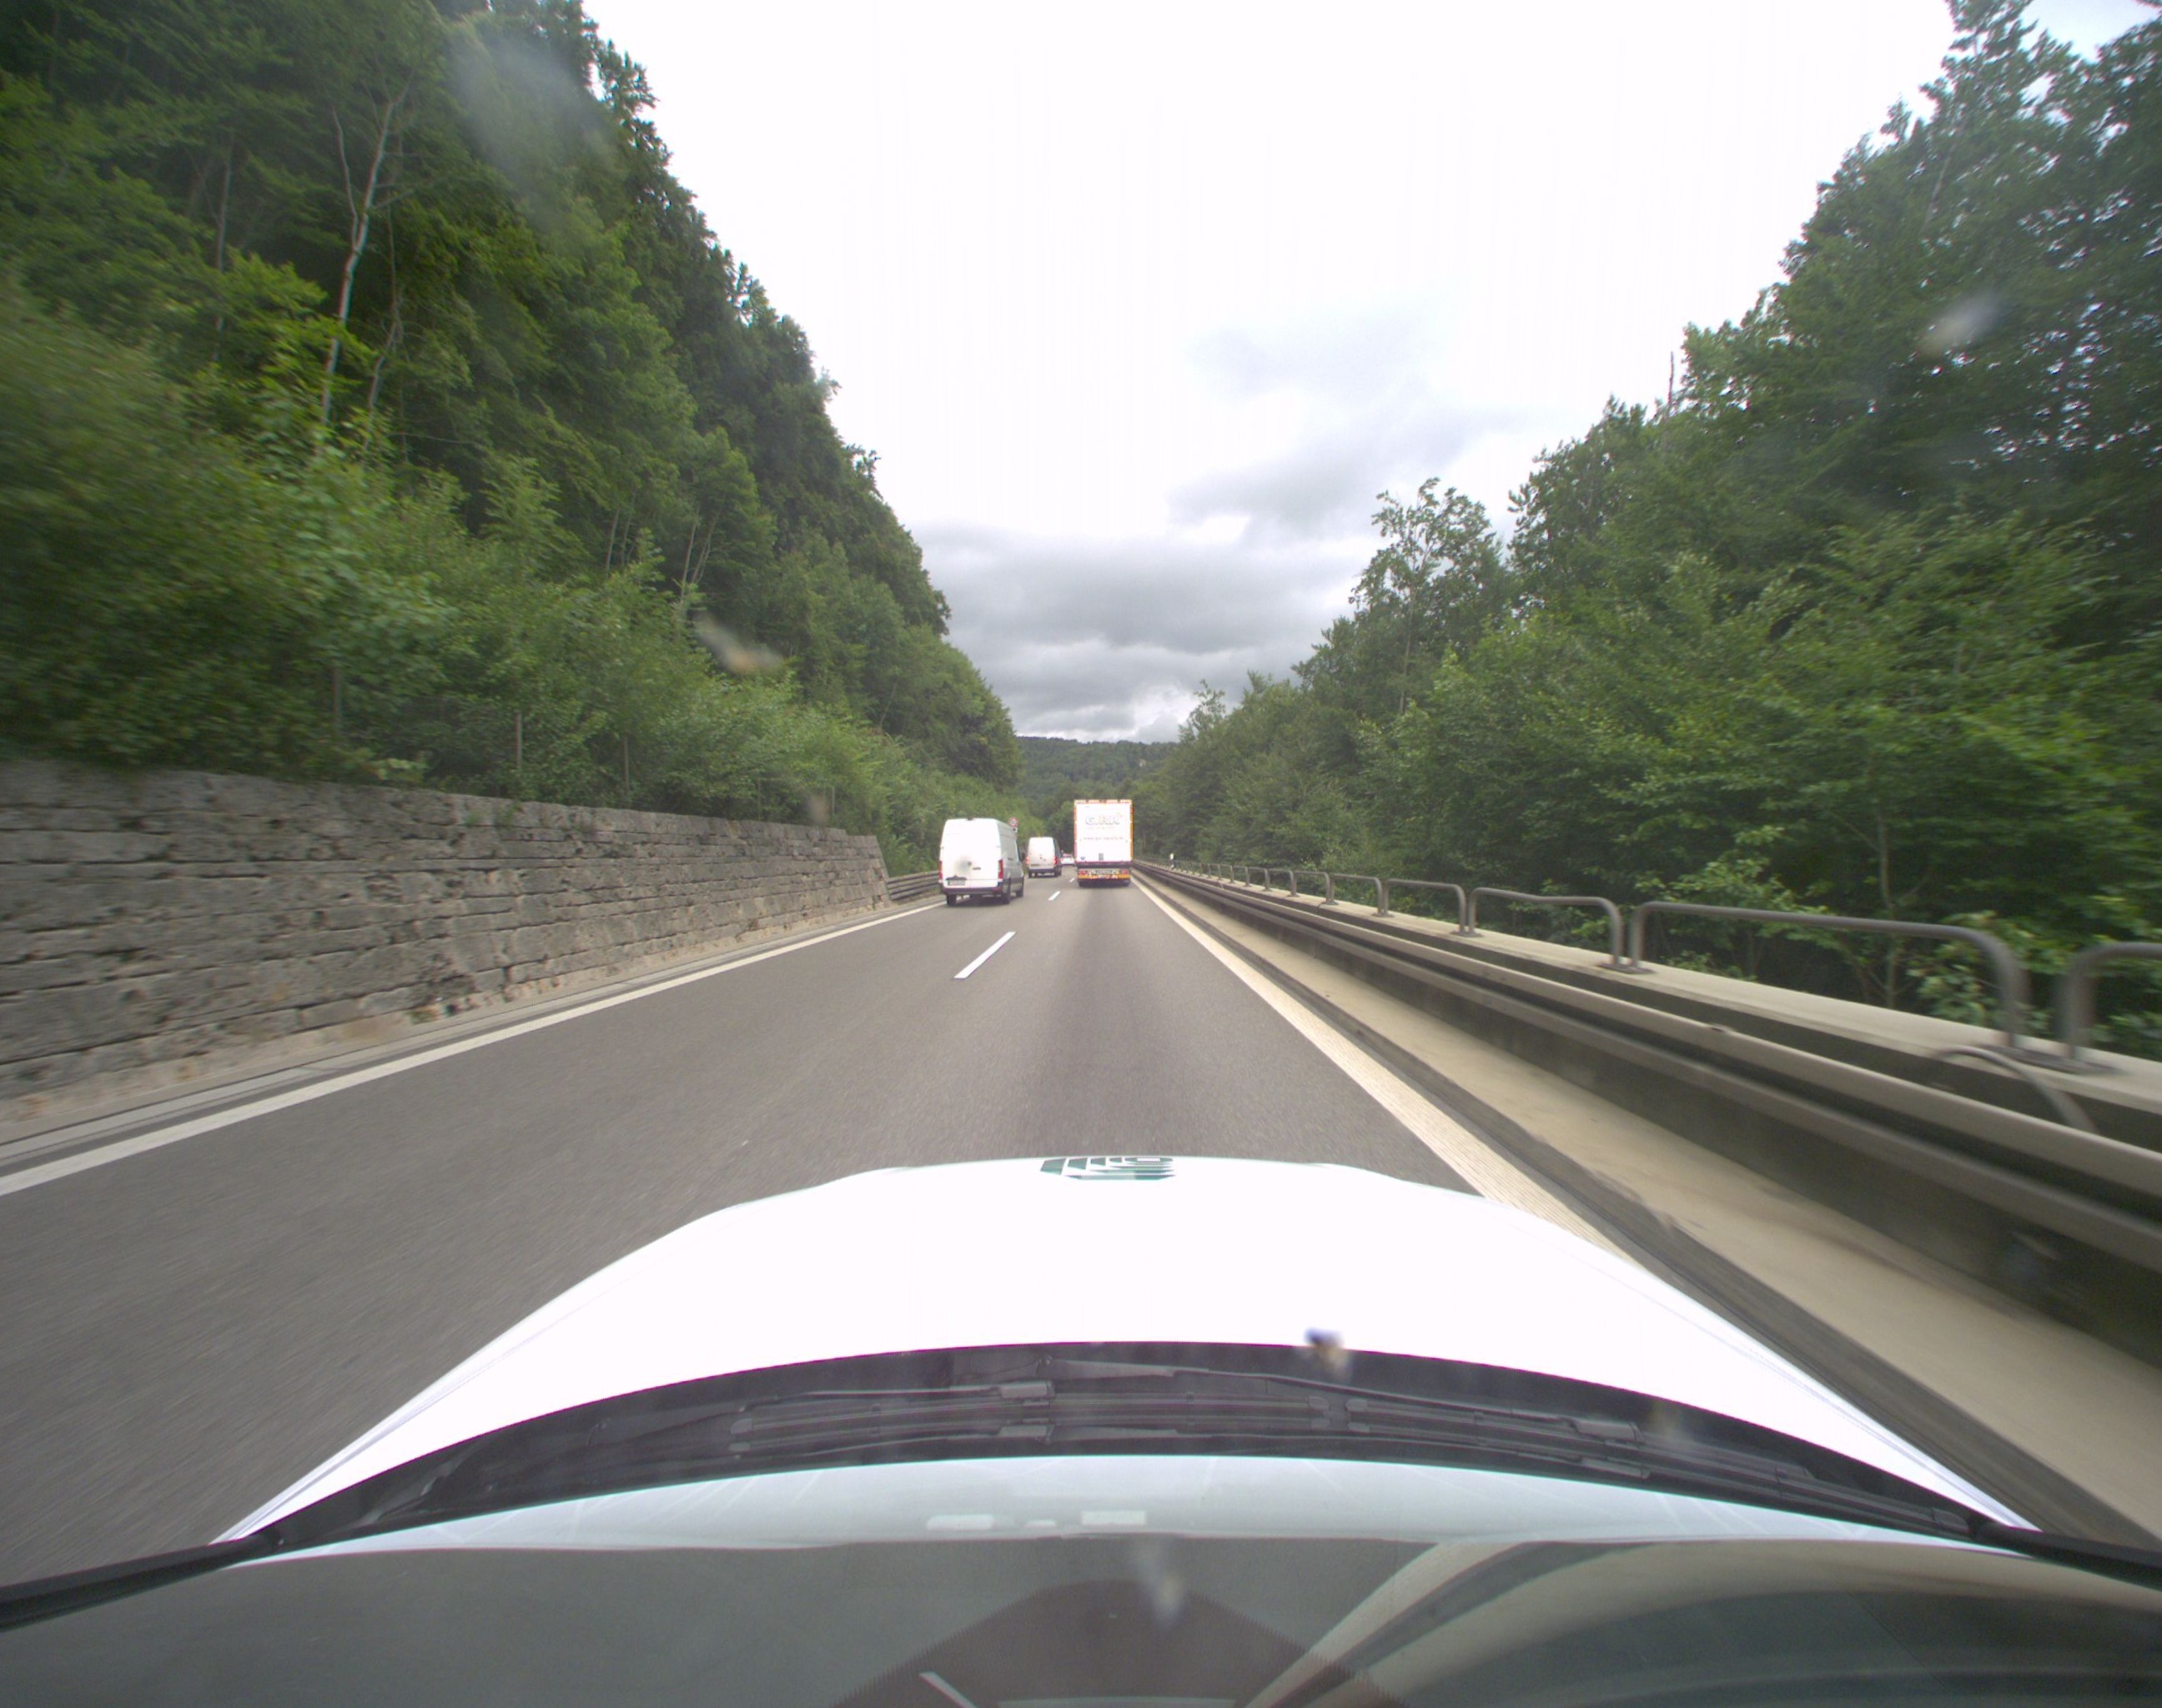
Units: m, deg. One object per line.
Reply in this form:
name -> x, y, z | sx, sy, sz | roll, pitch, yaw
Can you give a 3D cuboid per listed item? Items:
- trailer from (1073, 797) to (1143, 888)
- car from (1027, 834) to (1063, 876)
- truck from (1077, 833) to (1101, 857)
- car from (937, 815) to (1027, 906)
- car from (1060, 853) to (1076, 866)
trailer -> 1.357, -0.648, 41.946 | 3.046, 3.985, 12.142 | 0, 1, 2
car -> -2.407, 0.046, 55.777 | 1.932, 2.672, 5.995 | -1, 0, 2
truck -> 1.281, -1.446, 138.952 | 3.051, 3.986, 13.677 | 0, 0, -4
car -> -3.141, 0.170, 27.484 | 1.981, 2.672, 6.938 | -1, 0, 2
car -> -1.522, 0.647, 97.327 | 1.725, 1.421, 4.002 | 0, 0, 2
